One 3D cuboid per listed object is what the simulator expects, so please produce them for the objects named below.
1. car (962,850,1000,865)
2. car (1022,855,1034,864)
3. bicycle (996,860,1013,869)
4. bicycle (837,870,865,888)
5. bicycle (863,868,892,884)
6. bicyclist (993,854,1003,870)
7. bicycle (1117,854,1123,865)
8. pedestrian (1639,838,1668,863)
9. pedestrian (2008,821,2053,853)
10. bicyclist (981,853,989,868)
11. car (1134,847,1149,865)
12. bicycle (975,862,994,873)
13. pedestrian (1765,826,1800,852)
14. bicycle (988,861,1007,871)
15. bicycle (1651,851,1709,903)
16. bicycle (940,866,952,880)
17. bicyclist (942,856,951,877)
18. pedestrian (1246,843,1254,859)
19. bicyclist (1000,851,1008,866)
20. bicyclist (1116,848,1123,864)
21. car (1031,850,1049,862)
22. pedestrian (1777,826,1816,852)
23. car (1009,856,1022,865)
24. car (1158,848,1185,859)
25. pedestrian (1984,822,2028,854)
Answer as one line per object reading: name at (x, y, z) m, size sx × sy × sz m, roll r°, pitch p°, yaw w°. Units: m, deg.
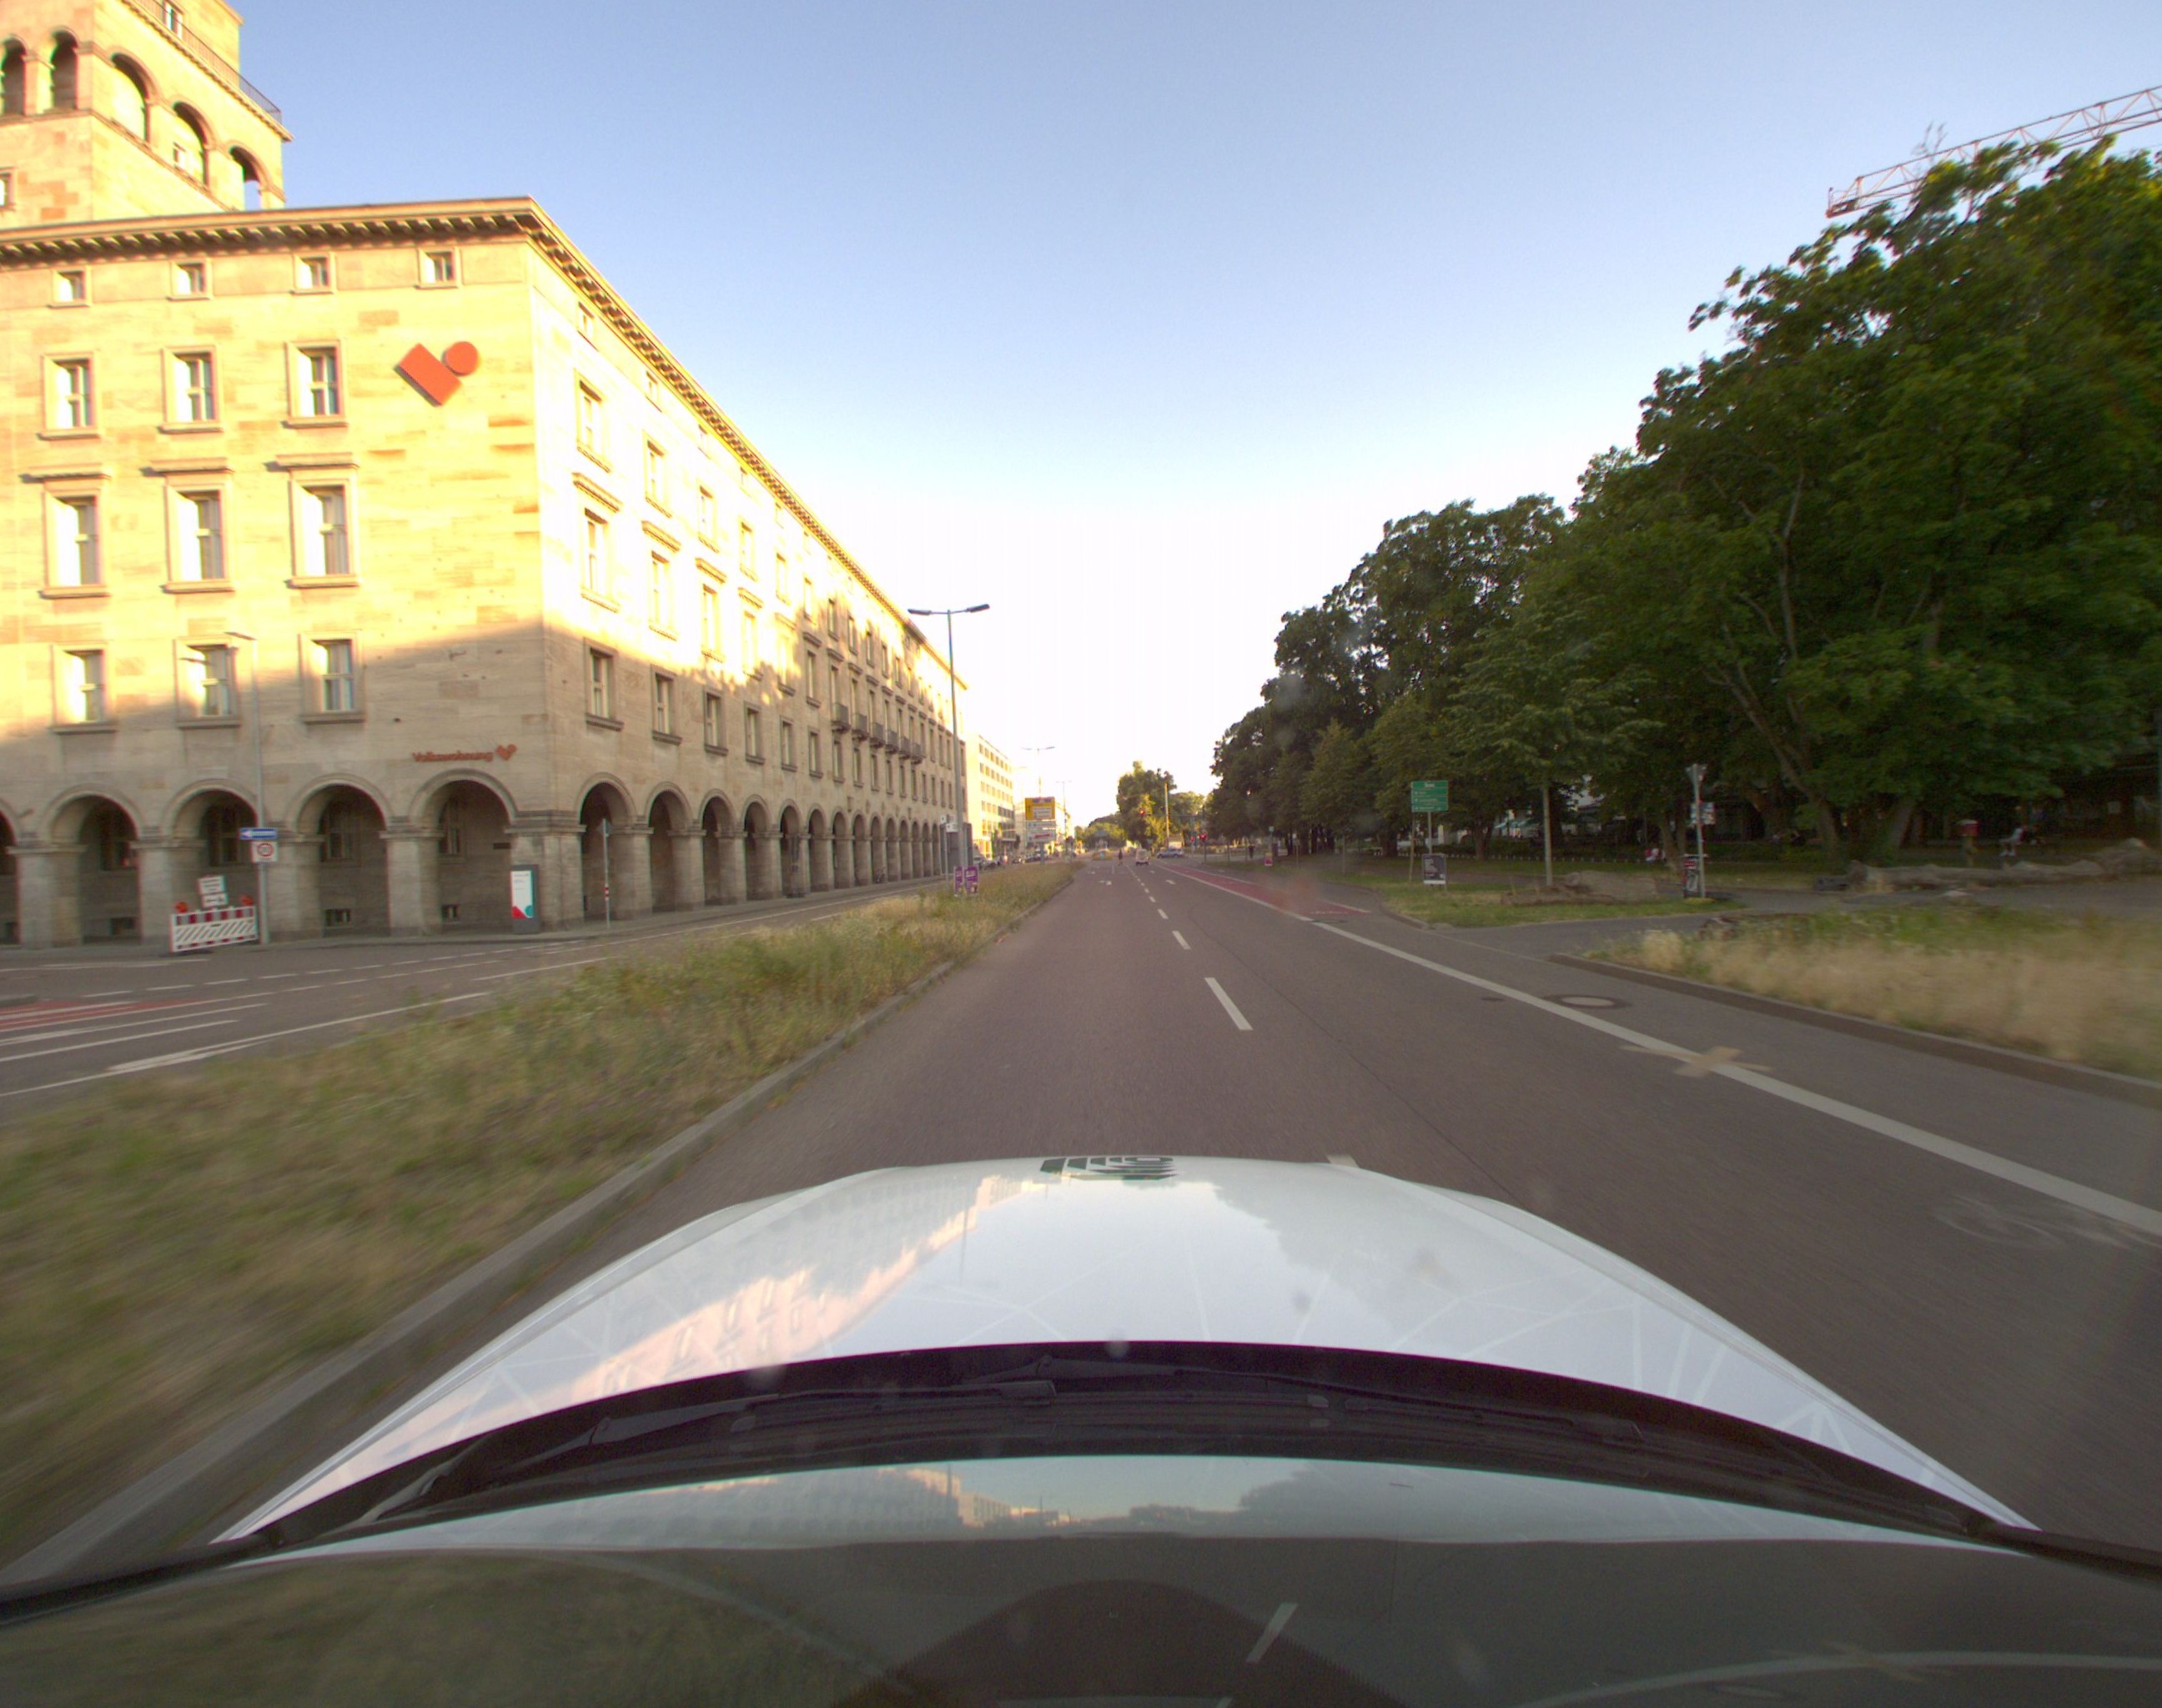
car at (-12.171, 0.407, 99.147) m, size 4.528 × 1.648 × 1.996 m, roll -2°, pitch 0°, yaw -7°
car at (-10.589, 1.134, 163.561) m, size 1.787 × 1.475 × 4.006 m, roll -3°, pitch -2°, yaw 6°
bicycle at (-9.073, 1.223, 96.276) m, size 1.888 × 1.069 × 0.732 m, roll -2°, pitch 0°, yaw 4°
bicycle at (-14.221, 1.509, 50.422) m, size 0.473 × 1.005 × 2.015 m, roll -2°, pitch 0°, yaw 21°
bicycle at (-13.835, 1.488, 55.455) m, size 0.472 × 1.005 × 2.018 m, roll -2°, pitch 0°, yaw 38°
bicyclist at (-9.474, 0.915, 93.026) m, size 0.740 × 1.693 × 0.769 m, roll -3°, pitch 0°, yaw 19°
bicycle at (4.176, 0.580, 87.378) m, size 0.635 × 1.069 × 2.070 m, roll -1°, pitch 0°, yaw 2°
pedestrian at (21.410, -0.118, 30.477) m, size 0.682 × 0.884 × 0.588 m, roll -2°, pitch 0°, yaw -23°
pedestrian at (35.656, -0.624, 30.599) m, size 0.784 × 1.164 × 0.766 m, roll -2°, pitch 0°, yaw -4°
bicyclist at (-10.851, 0.767, 91.806) m, size 0.746 × 1.693 × 0.713 m, roll -2°, pitch 0°, yaw -9°
car at (6.468, 0.239, 86.743) m, size 1.453 × 1.780 × 2.568 m, roll -2°, pitch 1°, yaw 4°
bicycle at (-10.885, 1.499, 91.794) m, size 2.014 × 1.069 × 0.729 m, roll -3°, pitch 0°, yaw -8°
pedestrian at (35.930, -0.753, 41.707) m, size 1.126 × 1.260 × 0.726 m, roll -3°, pitch 0°, yaw 4°
bicycle at (-9.547, 1.382, 93.043) m, size 2.041 × 1.069 × 0.790 m, roll -2°, pitch 0°, yaw 18°
bicycle at (13.263, 0.481, 18.084) m, size 0.490 × 1.005 × 1.908 m, roll -5°, pitch 0°, yaw 22°
bicycle at (-10.849, 1.521, 65.669) m, size 0.539 × 1.005 × 2.006 m, roll -3°, pitch 0°, yaw 2°
bicyclist at (-10.860, 0.980, 65.883) m, size 0.534 × 1.693 × 0.749 m, roll -3°, pitch 0°, yaw 2°
pedestrian at (18.470, -0.282, 88.846) m, size 0.692 × 1.693 × 0.748 m, roll -3°, pitch 0°, yaw 1°
bicyclist at (-9.157, 0.542, 96.291) m, size 0.742 × 1.693 × 0.716 m, roll -3°, pitch 0°, yaw 5°
bicyclist at (4.141, 0.241, 87.064) m, size 0.626 × 1.693 × 0.749 m, roll -3°, pitch 0°, yaw 1°
car at (-8.913, 0.390, 176.526) m, size 2.161 × 2.385 × 6.010 m, roll -3°, pitch -2°, yaw 13°
pedestrian at (35.796, -0.734, 40.759) m, size 1.126 × 1.260 × 0.906 m, roll -3°, pitch 0°, yaw 4°
car at (-11.781, 1.140, 146.152) m, size 1.789 × 1.475 × 4.000 m, roll -3°, pitch -2°, yaw 1°
car at (13.982, -0.049, 125.674) m, size 3.968 × 1.574 × 2.003 m, roll -3°, pitch 0°, yaw 4°
pedestrian at (35.605, -0.614, 31.362) m, size 0.784 × 1.164 × 0.766 m, roll -2°, pitch 0°, yaw -4°
